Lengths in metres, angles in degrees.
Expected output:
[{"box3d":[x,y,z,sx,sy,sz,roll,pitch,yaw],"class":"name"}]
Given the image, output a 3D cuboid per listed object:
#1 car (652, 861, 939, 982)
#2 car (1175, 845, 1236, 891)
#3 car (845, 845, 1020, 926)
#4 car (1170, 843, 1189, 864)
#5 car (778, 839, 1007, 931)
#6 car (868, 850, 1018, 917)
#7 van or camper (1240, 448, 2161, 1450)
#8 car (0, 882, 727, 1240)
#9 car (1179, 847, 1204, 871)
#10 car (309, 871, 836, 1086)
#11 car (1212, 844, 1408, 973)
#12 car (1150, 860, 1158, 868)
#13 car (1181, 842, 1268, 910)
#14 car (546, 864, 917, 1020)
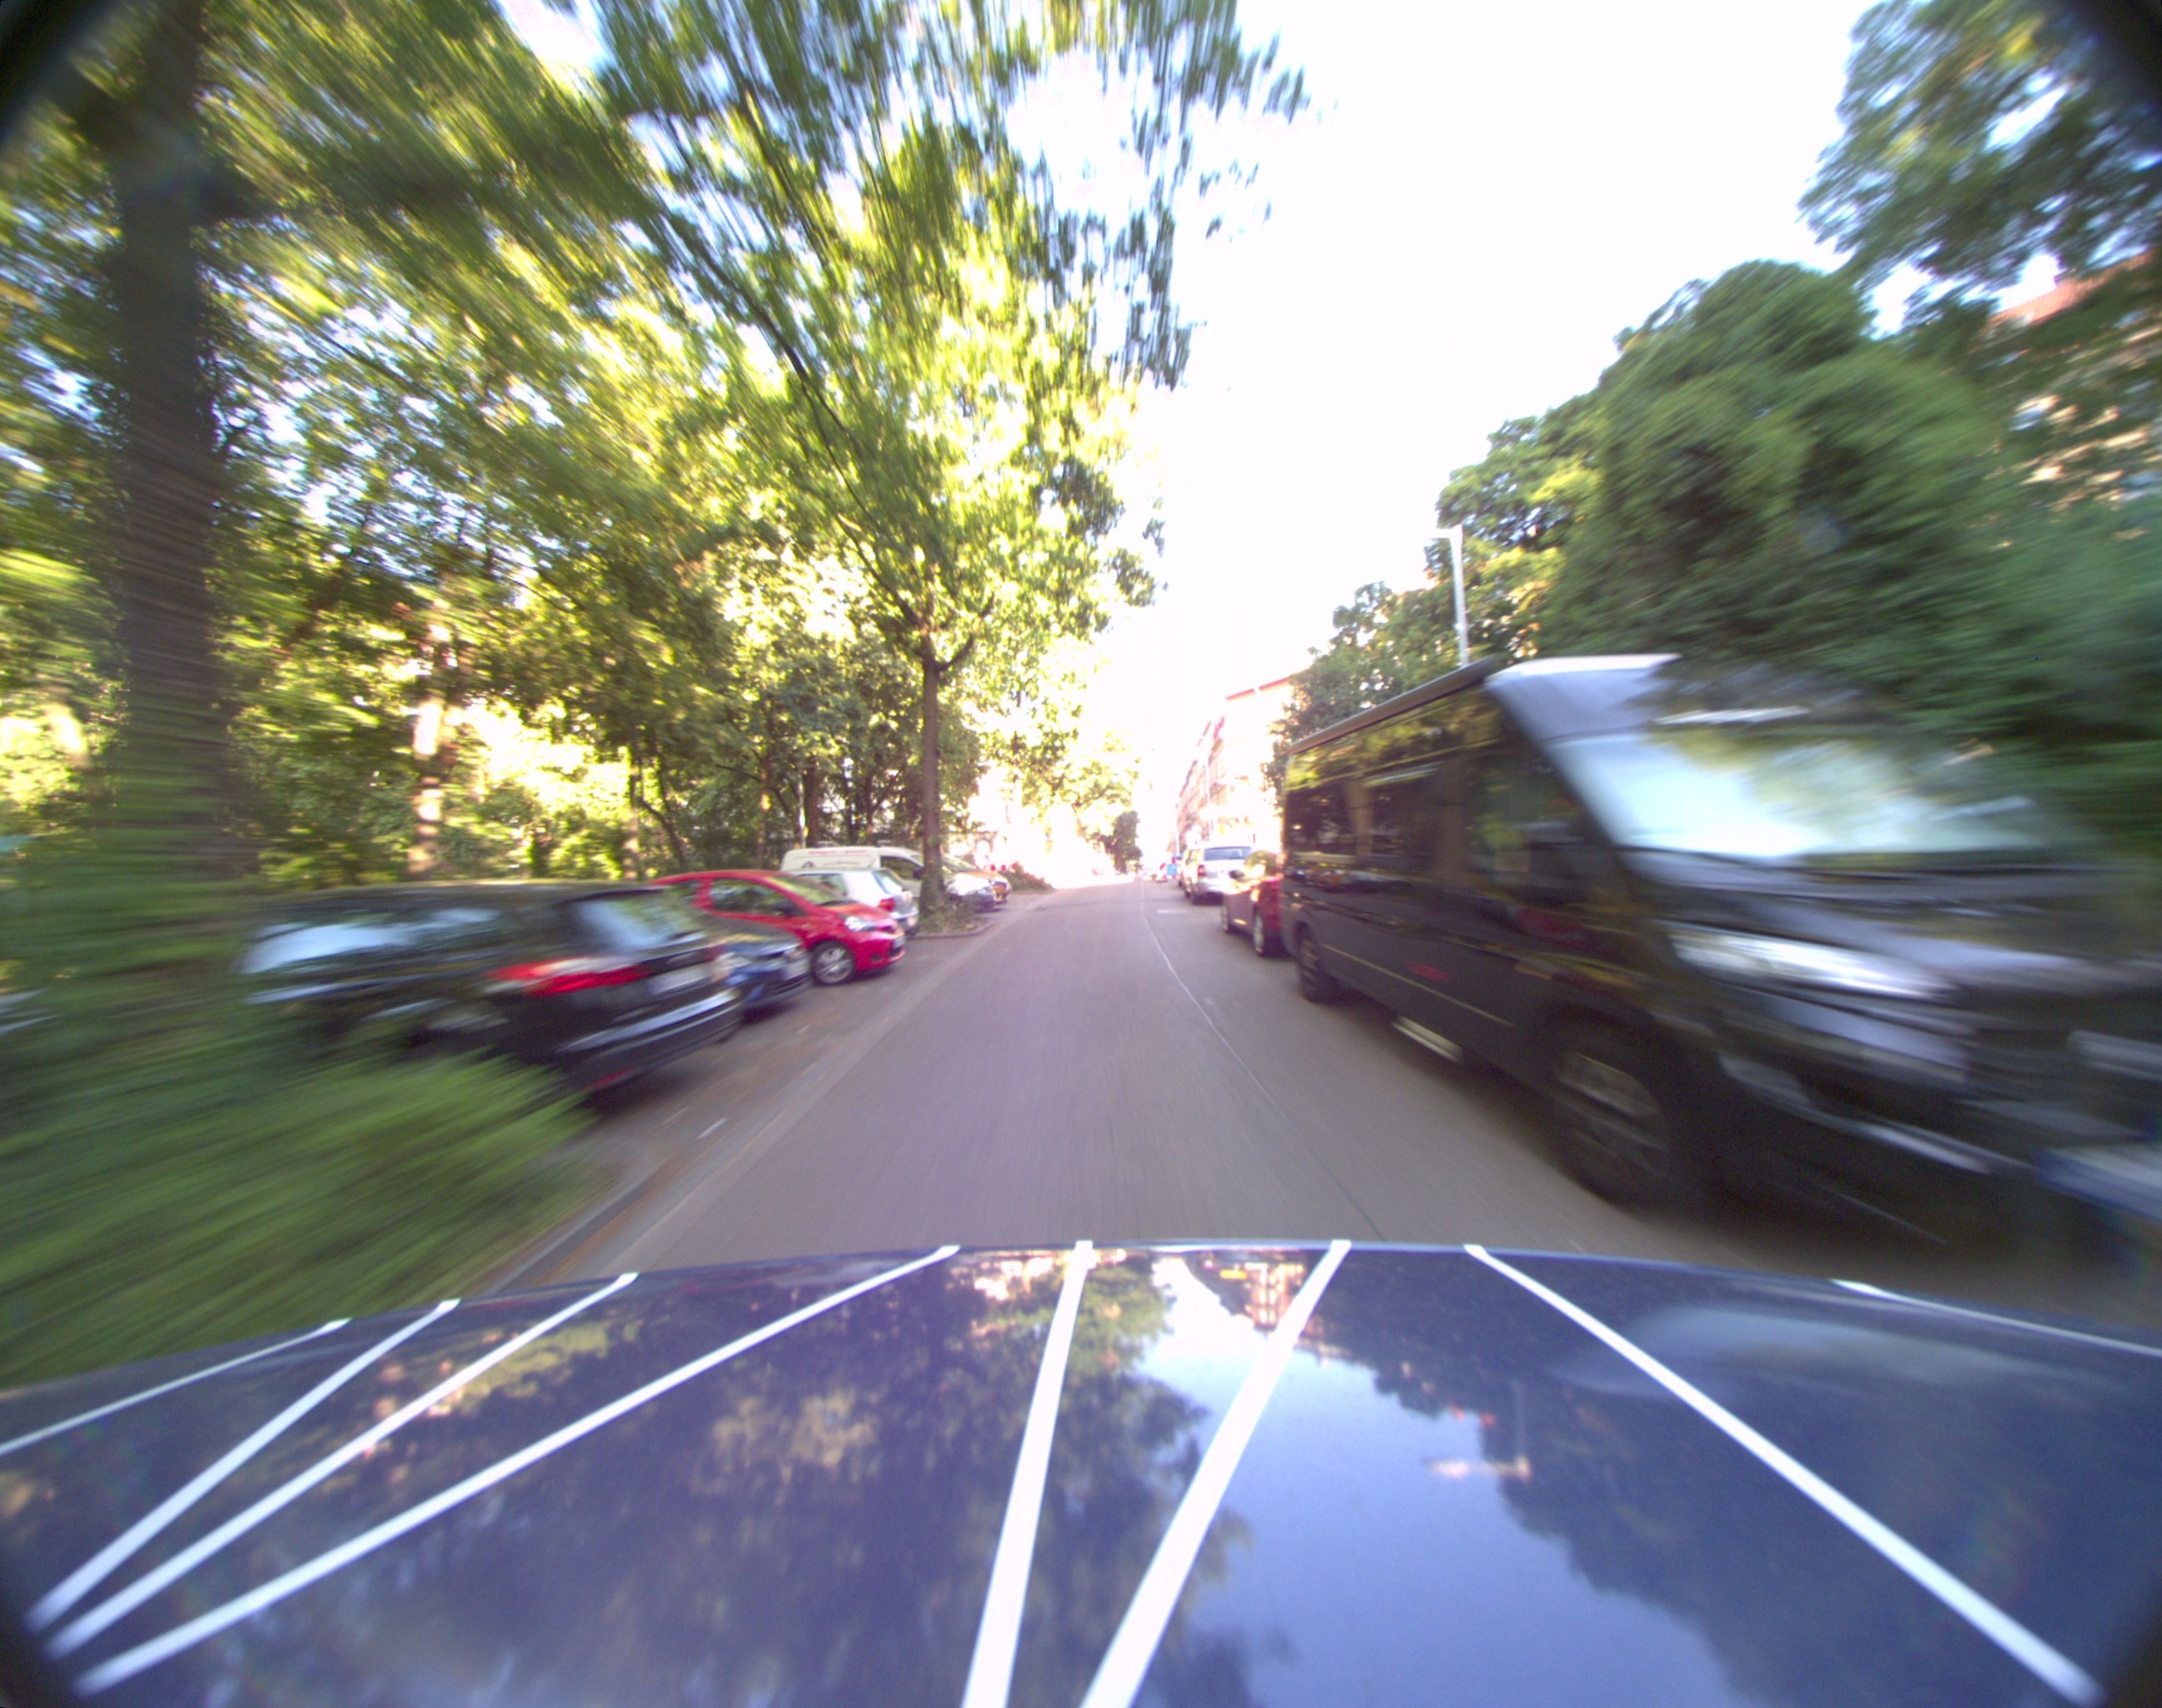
[{"box3d":[-4.584,1.061,12.524,3.995,1.565,1.666,-4,1,6],"class":"car"},{"box3d":[4.122,0.411,25.752,1.703,1.391,4.195,-1,1,5],"class":"car"},{"box3d":[-3.812,0.785,19.874,3.995,1.748,1.799,-4,1,7],"class":"car"},{"box3d":[10.471,-0.117,81.005,1.703,2.104,4.195,-1,1,5],"class":"car"},{"box3d":[-4.160,0.660,17.296,4.682,1.914,1.872,-1,1,2],"class":"car"},{"box3d":[-4.008,0.843,22.524,3.997,1.618,1.798,-4,1,0],"class":"car"},{"box3d":[2.947,0.186,5.158,2.241,2.508,6.420,-4,1,0],"class":"van or camper"},{"box3d":[-4.625,1.136,4.687,4.030,1.565,1.587,-4,1,2],"class":"car"},{"box3d":[8.838,0.348,61.192,1.703,1.794,4.195,-1,1,5],"class":"car"},{"box3d":[-4.713,1.117,7.432,3.996,1.565,1.587,-4,1,2],"class":"car"},{"box3d":[3.117,0.631,11.252,1.703,1.498,4.228,-2,1,1],"class":"car"},{"box3d":[17.390,2.326,181.535,1.703,1.740,4.195,-1,1,5],"class":"car"},{"box3d":[3.526,0.468,19.384,1.703,1.489,4.550,-1,1,5],"class":"car"},{"box3d":[-4.368,1.069,9.901,3.996,1.565,1.587,-4,1,2],"class":"car"}]
